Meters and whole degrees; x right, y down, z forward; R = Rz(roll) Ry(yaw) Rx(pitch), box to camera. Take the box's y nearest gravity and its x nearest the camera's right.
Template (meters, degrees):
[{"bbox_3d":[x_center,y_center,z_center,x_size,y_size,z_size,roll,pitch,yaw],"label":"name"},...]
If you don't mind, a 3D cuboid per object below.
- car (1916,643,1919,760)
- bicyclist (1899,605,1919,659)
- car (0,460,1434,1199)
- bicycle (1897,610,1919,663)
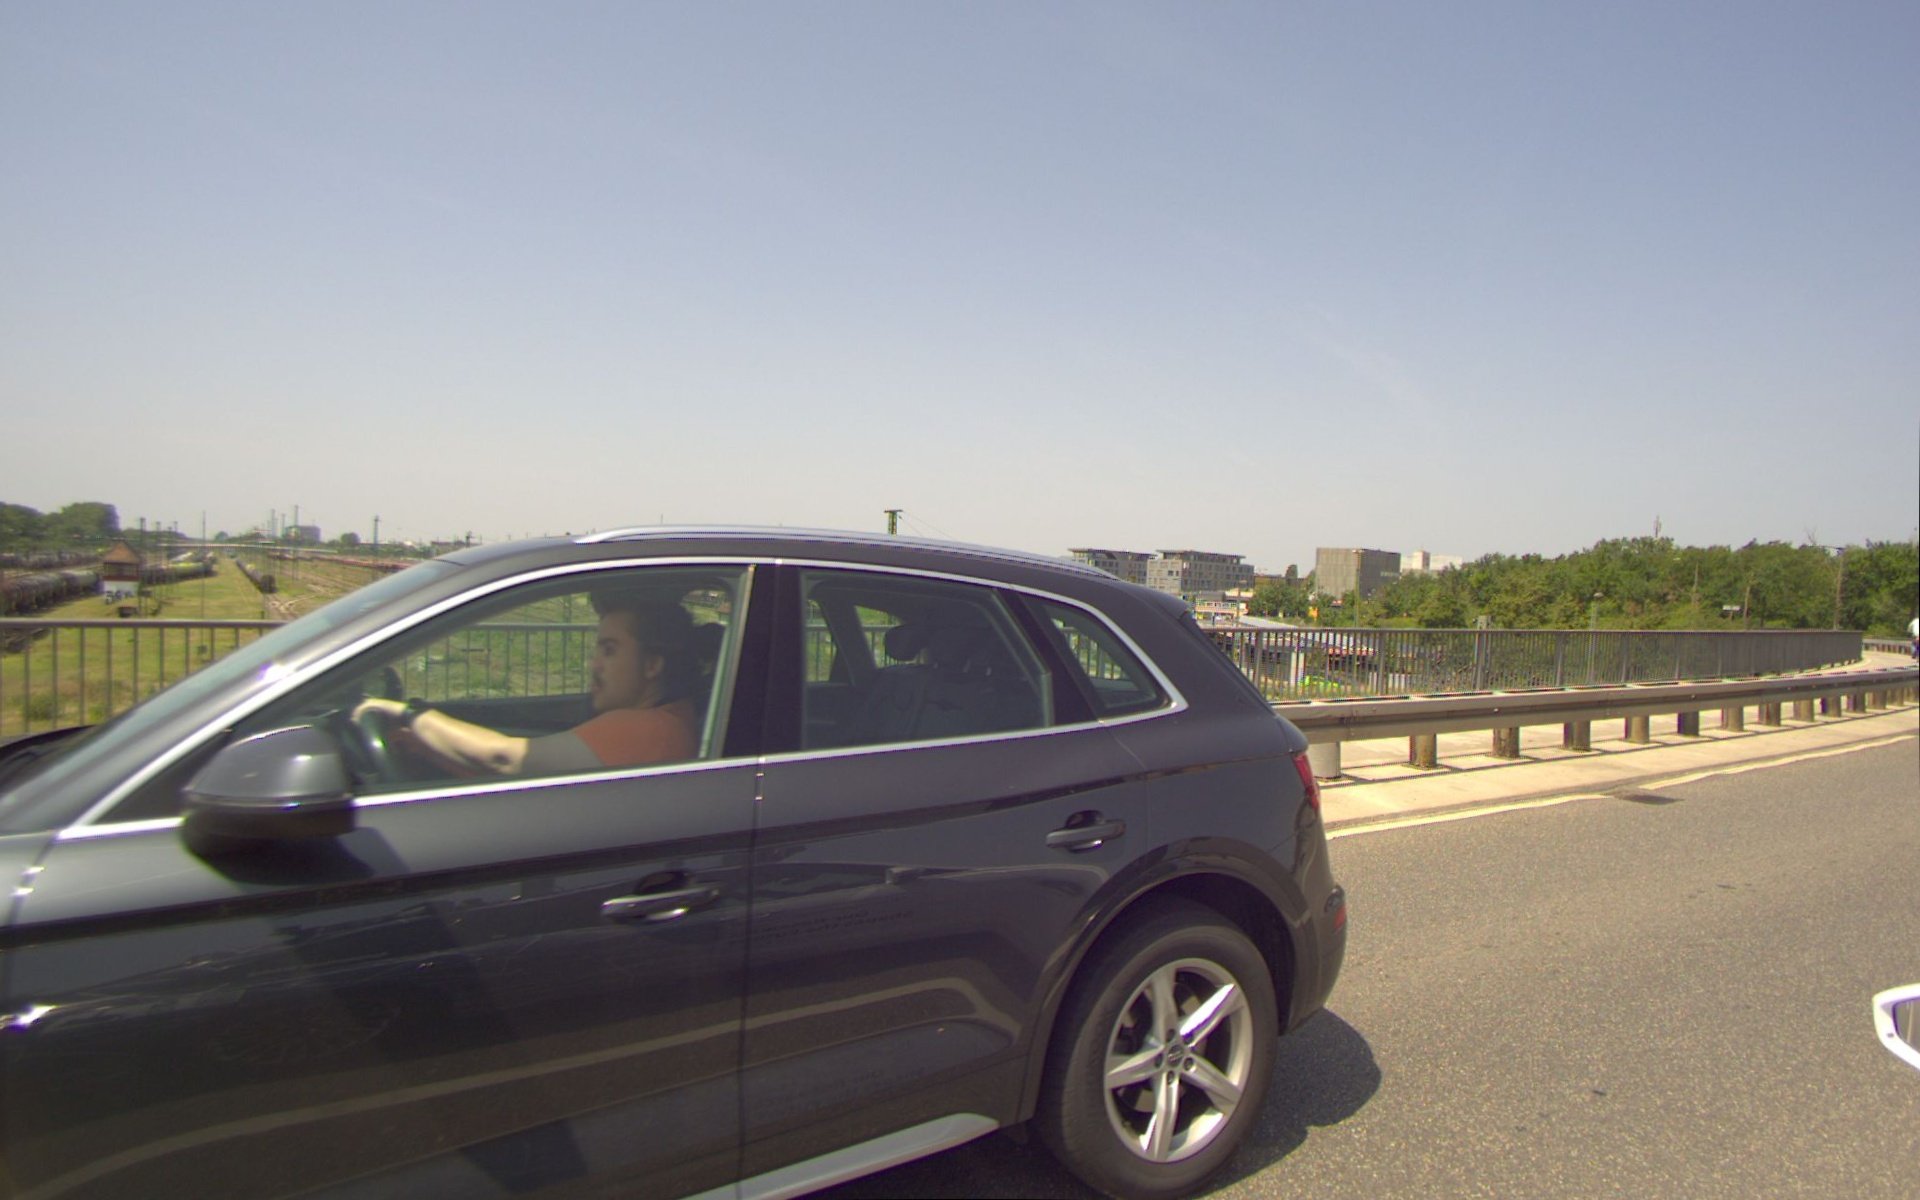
[{"bbox_3d":[12.329,1.031,11.319,3.453,1.484,1.653,1,1,-36],"label":"car"},{"bbox_3d":[34.403,1.155,36.298,0.617,1.911,0.709,2,1,40],"label":"bicyclist"},{"bbox_3d":[-0.896,0.652,2.631,4.183,1.658,1.833,1,0,-30],"label":"car"},{"bbox_3d":[34.342,1.292,36.217,0.690,1.826,2.170,2,1,41],"label":"bicycle"}]
